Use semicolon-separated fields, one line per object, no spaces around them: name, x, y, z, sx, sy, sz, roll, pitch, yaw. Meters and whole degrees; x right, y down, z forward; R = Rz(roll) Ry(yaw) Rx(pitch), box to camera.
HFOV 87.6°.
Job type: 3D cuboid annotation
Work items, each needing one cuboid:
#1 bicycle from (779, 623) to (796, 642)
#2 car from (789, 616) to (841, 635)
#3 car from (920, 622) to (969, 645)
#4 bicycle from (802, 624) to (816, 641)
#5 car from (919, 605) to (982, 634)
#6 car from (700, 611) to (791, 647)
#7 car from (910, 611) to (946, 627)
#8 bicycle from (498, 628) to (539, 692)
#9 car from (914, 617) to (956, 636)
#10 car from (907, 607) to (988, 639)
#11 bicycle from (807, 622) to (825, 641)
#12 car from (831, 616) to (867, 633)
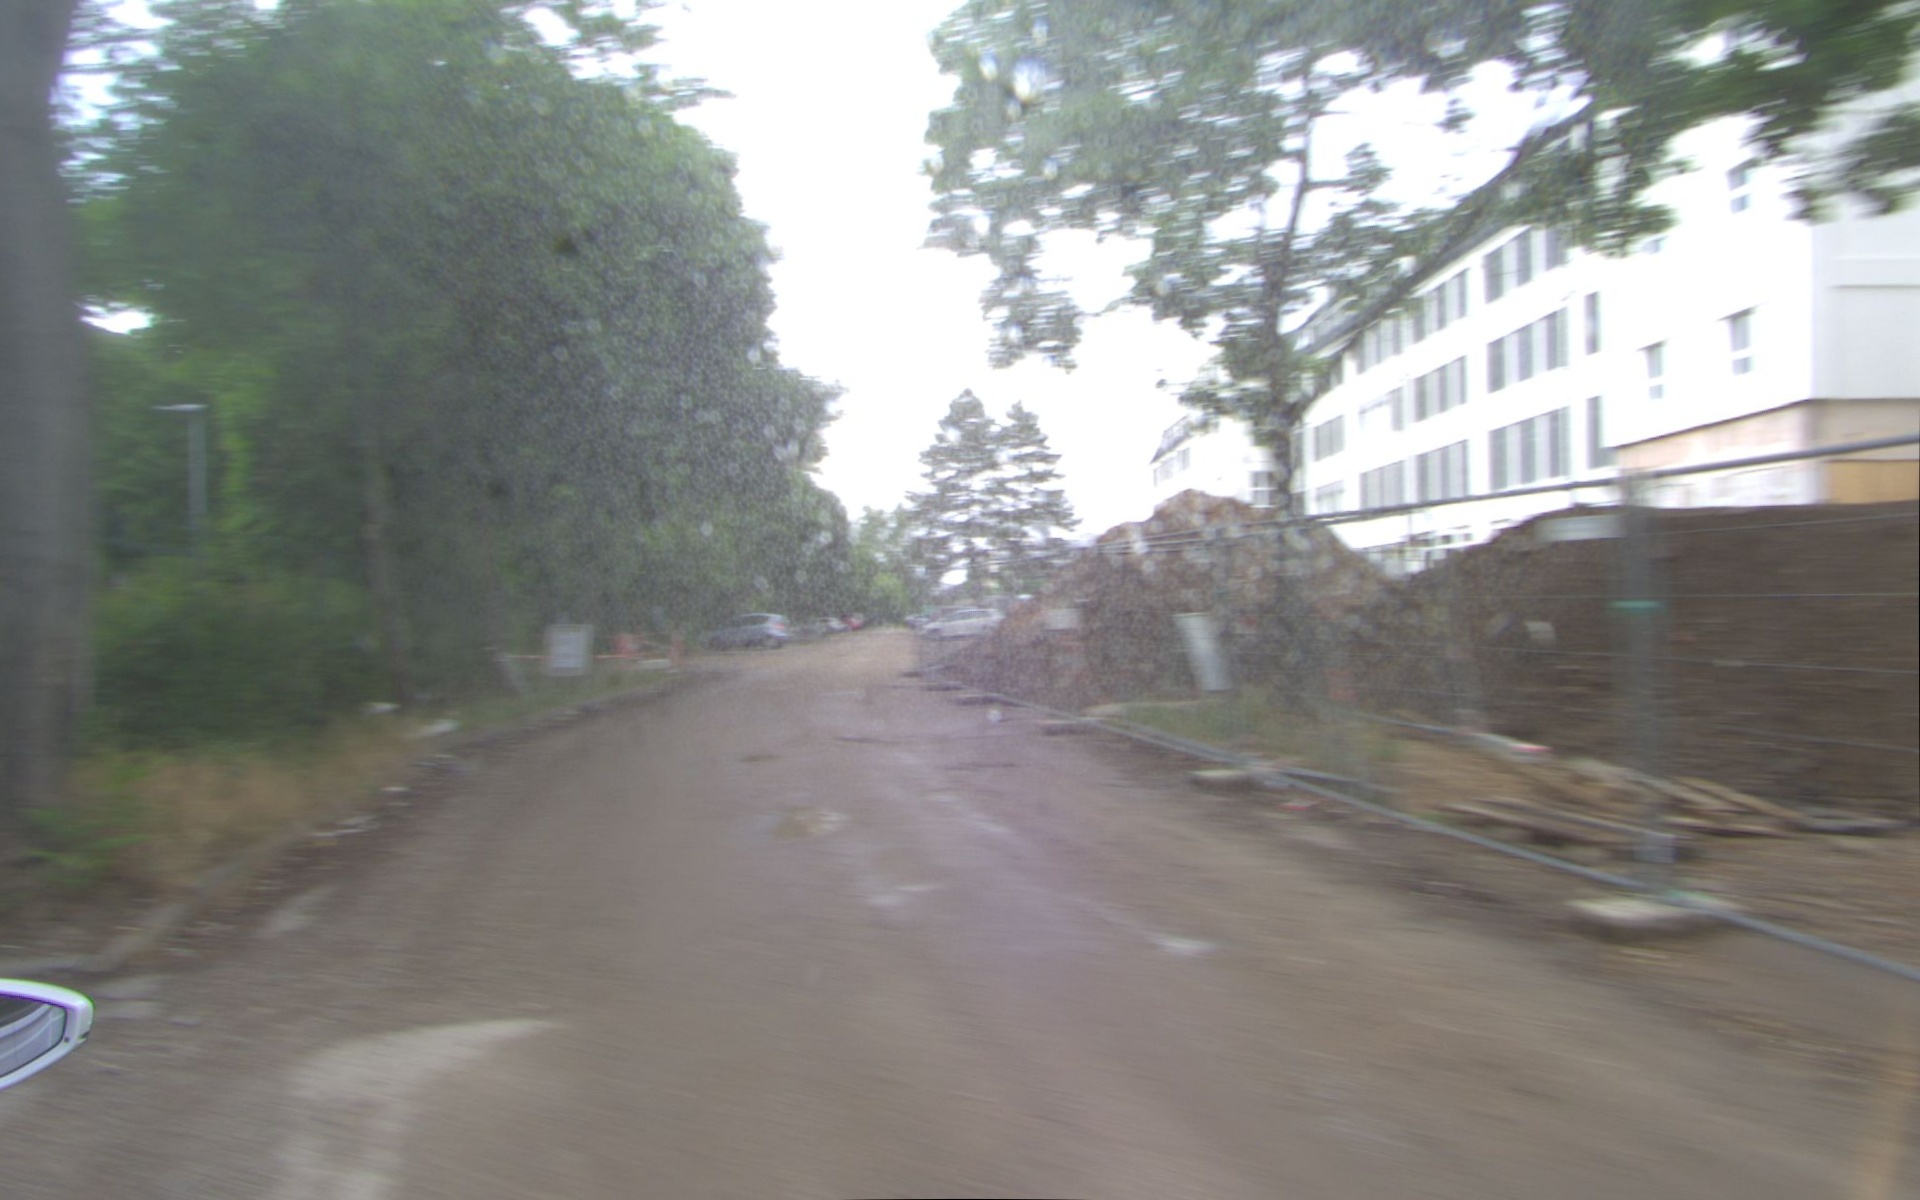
bicycle;-9.455;1.792;54.789;0.759;0.991;2.029;-1;-1;-14
car;-12.357;2.161;85.513;3.947;1.528;1.987;0;-1;-34
car;-1.329;2.737;83.115;3.922;1.806;2.000;-1;0;-4
bicycle;-9.204;1.975;61.011;0.579;0.991;2.029;-1;-1;-14
car;-0.636;1.234;63.703;3.922;1.806;1.929;-1;0;-4
car;-9.509;1.269;44.621;3.639;1.520;1.868;-1;0;0
car;-3.653;2.148;113.021;3.922;1.806;2.000;-1;0;-4
bicycle;-6.787;0.906;15.433;0.413;0.917;1.151;5;-2;-19
car;-2.439;2.551;97.120;3.922;1.806;2.000;-1;0;-4
car;-0.609;1.164;50.812;3.975;1.553;1.849;-1;0;3
bicycle;-7.929;1.741;55.184;0.759;0.991;2.029;-1;-1;-14
car;-11.443;2.522;103.516;3.582;1.684;1.782;-1;0;-3
